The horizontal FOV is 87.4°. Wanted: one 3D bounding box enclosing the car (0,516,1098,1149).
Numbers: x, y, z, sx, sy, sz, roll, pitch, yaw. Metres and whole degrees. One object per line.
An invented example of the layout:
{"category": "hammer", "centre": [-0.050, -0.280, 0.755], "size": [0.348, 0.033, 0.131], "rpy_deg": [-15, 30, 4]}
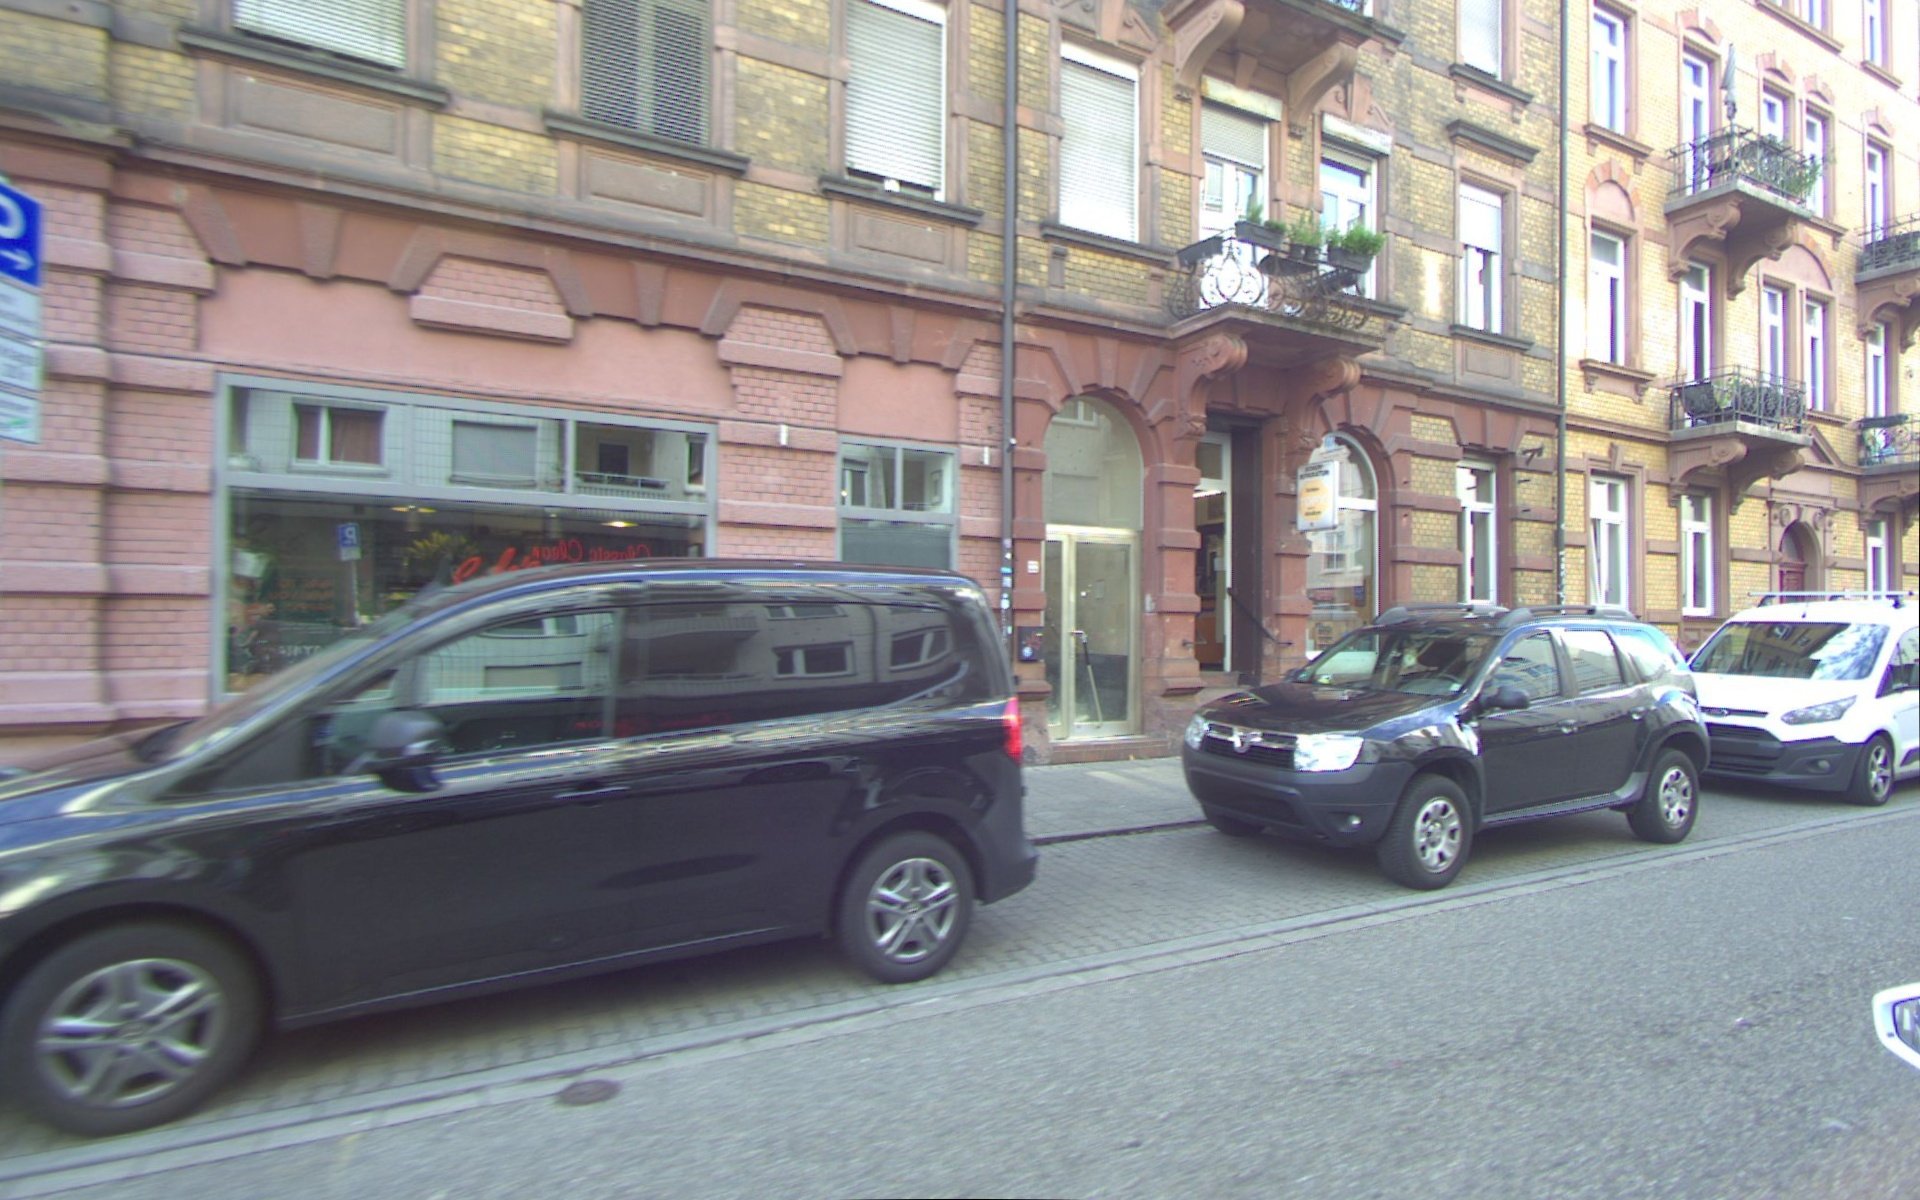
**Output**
{"category": "car", "centre": [-1.677, 0.671, 4.438], "size": [4.352, 1.797, 1.752], "rpy_deg": [1, 1, -29]}

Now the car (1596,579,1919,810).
{"category": "car", "centre": [8.640, 0.815, 10.137], "size": [4.382, 1.896, 1.912], "rpy_deg": [1, -1, -29]}

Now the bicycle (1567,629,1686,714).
{"category": "bicycle", "centre": [9.807, 1.026, 14.756], "size": [1.976, 1.166, 0.566], "rpy_deg": [1, 1, -28]}

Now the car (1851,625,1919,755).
{"category": "car", "centre": [13.127, 1.122, 12.483], "size": [3.932, 1.503, 1.735], "rpy_deg": [2, 0, -27]}

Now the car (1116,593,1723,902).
{"category": "car", "centre": [3.373, 0.824, 7.277], "size": [4.095, 1.660, 1.985], "rpy_deg": [1, 0, -29]}
